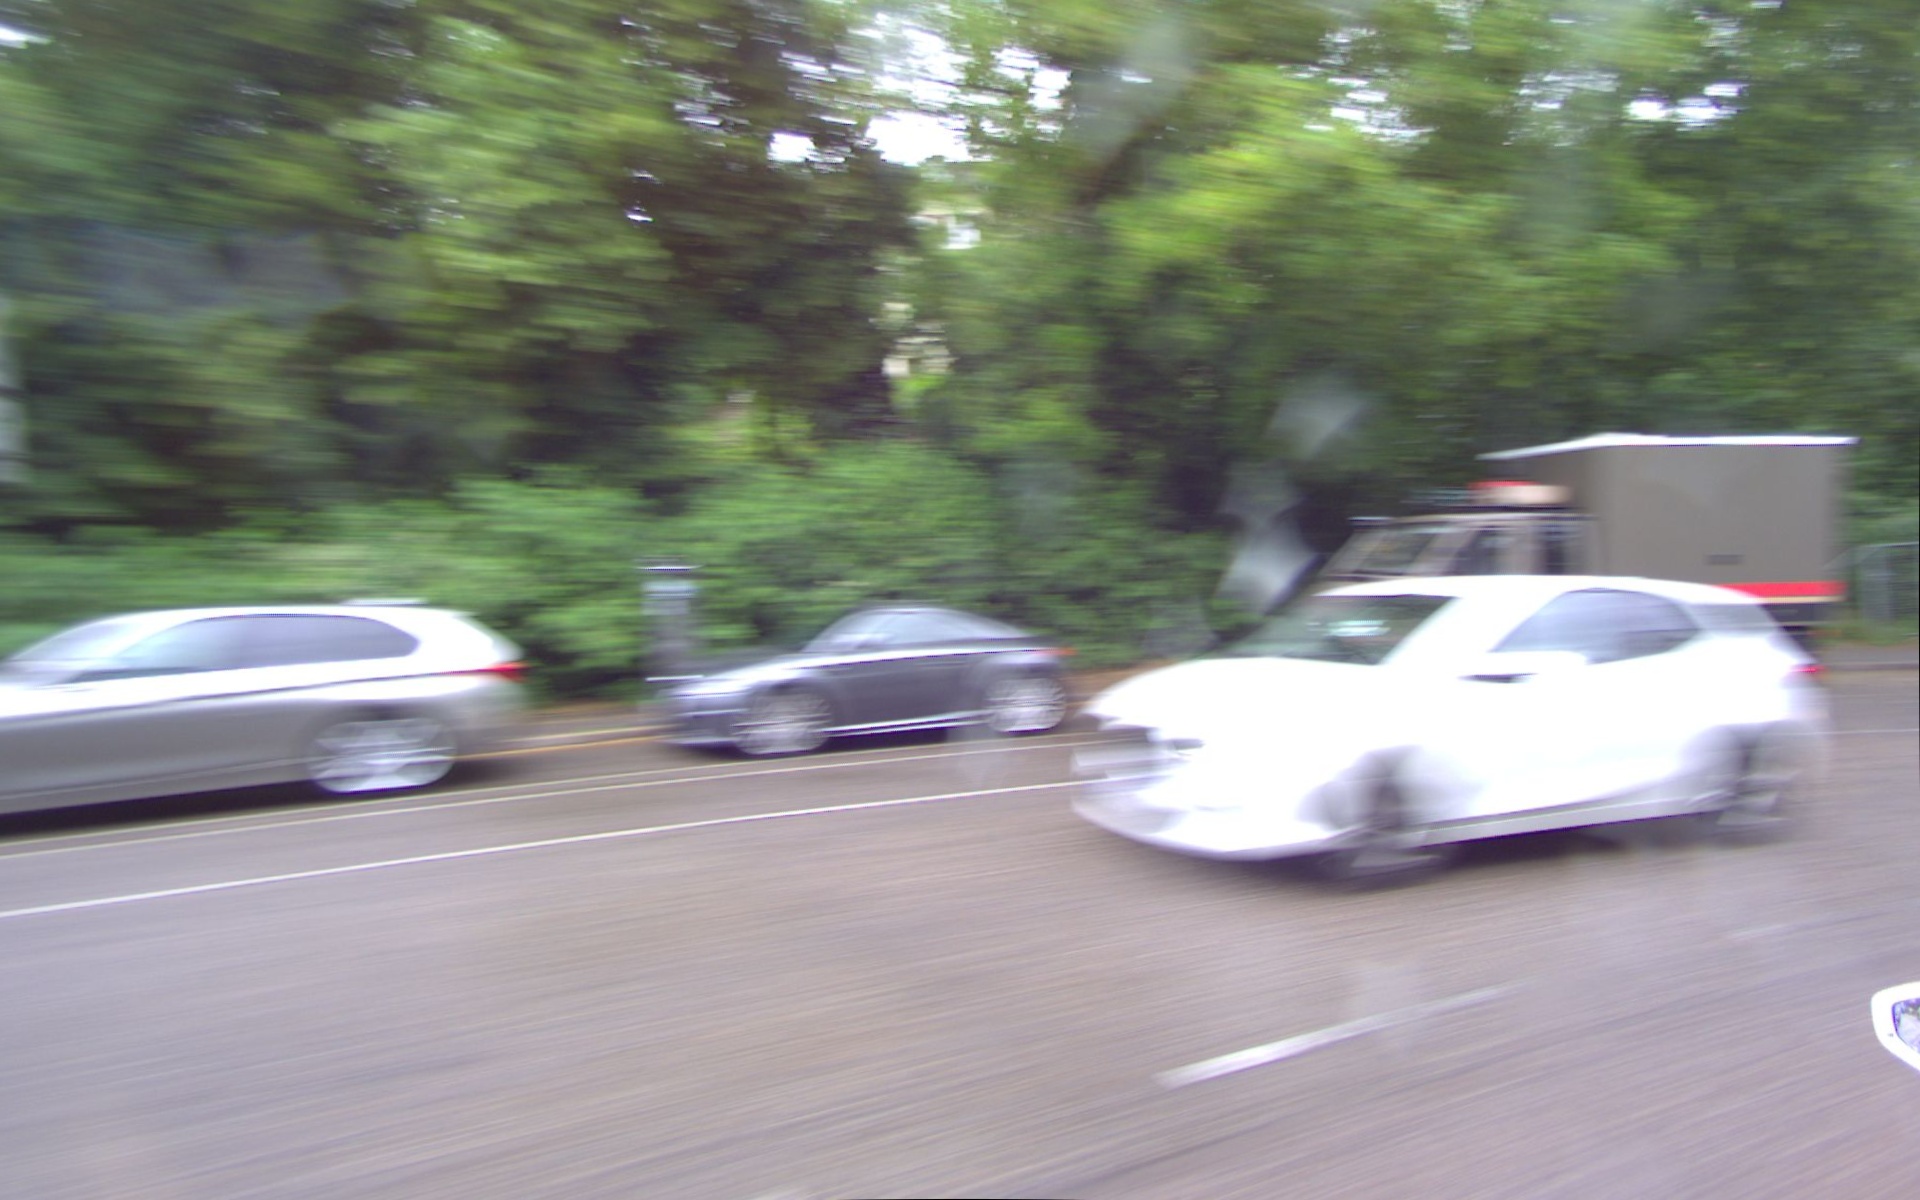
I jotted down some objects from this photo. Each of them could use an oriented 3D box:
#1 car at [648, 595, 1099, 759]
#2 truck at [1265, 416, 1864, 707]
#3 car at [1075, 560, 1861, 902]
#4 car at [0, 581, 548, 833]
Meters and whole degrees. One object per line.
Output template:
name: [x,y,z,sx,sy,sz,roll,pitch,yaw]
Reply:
car: [-0.827,0.642,10.080,4.190,1.293,1.694,-1,1,-26]
truck: [7.292,-0.470,12.392,6.493,3.145,2.036,0,3,-9]
car: [3.086,0.583,6.224,4.386,1.591,1.797,0,1,-19]
car: [-5.597,0.659,7.413,4.481,1.519,1.689,-1,1,-34]
